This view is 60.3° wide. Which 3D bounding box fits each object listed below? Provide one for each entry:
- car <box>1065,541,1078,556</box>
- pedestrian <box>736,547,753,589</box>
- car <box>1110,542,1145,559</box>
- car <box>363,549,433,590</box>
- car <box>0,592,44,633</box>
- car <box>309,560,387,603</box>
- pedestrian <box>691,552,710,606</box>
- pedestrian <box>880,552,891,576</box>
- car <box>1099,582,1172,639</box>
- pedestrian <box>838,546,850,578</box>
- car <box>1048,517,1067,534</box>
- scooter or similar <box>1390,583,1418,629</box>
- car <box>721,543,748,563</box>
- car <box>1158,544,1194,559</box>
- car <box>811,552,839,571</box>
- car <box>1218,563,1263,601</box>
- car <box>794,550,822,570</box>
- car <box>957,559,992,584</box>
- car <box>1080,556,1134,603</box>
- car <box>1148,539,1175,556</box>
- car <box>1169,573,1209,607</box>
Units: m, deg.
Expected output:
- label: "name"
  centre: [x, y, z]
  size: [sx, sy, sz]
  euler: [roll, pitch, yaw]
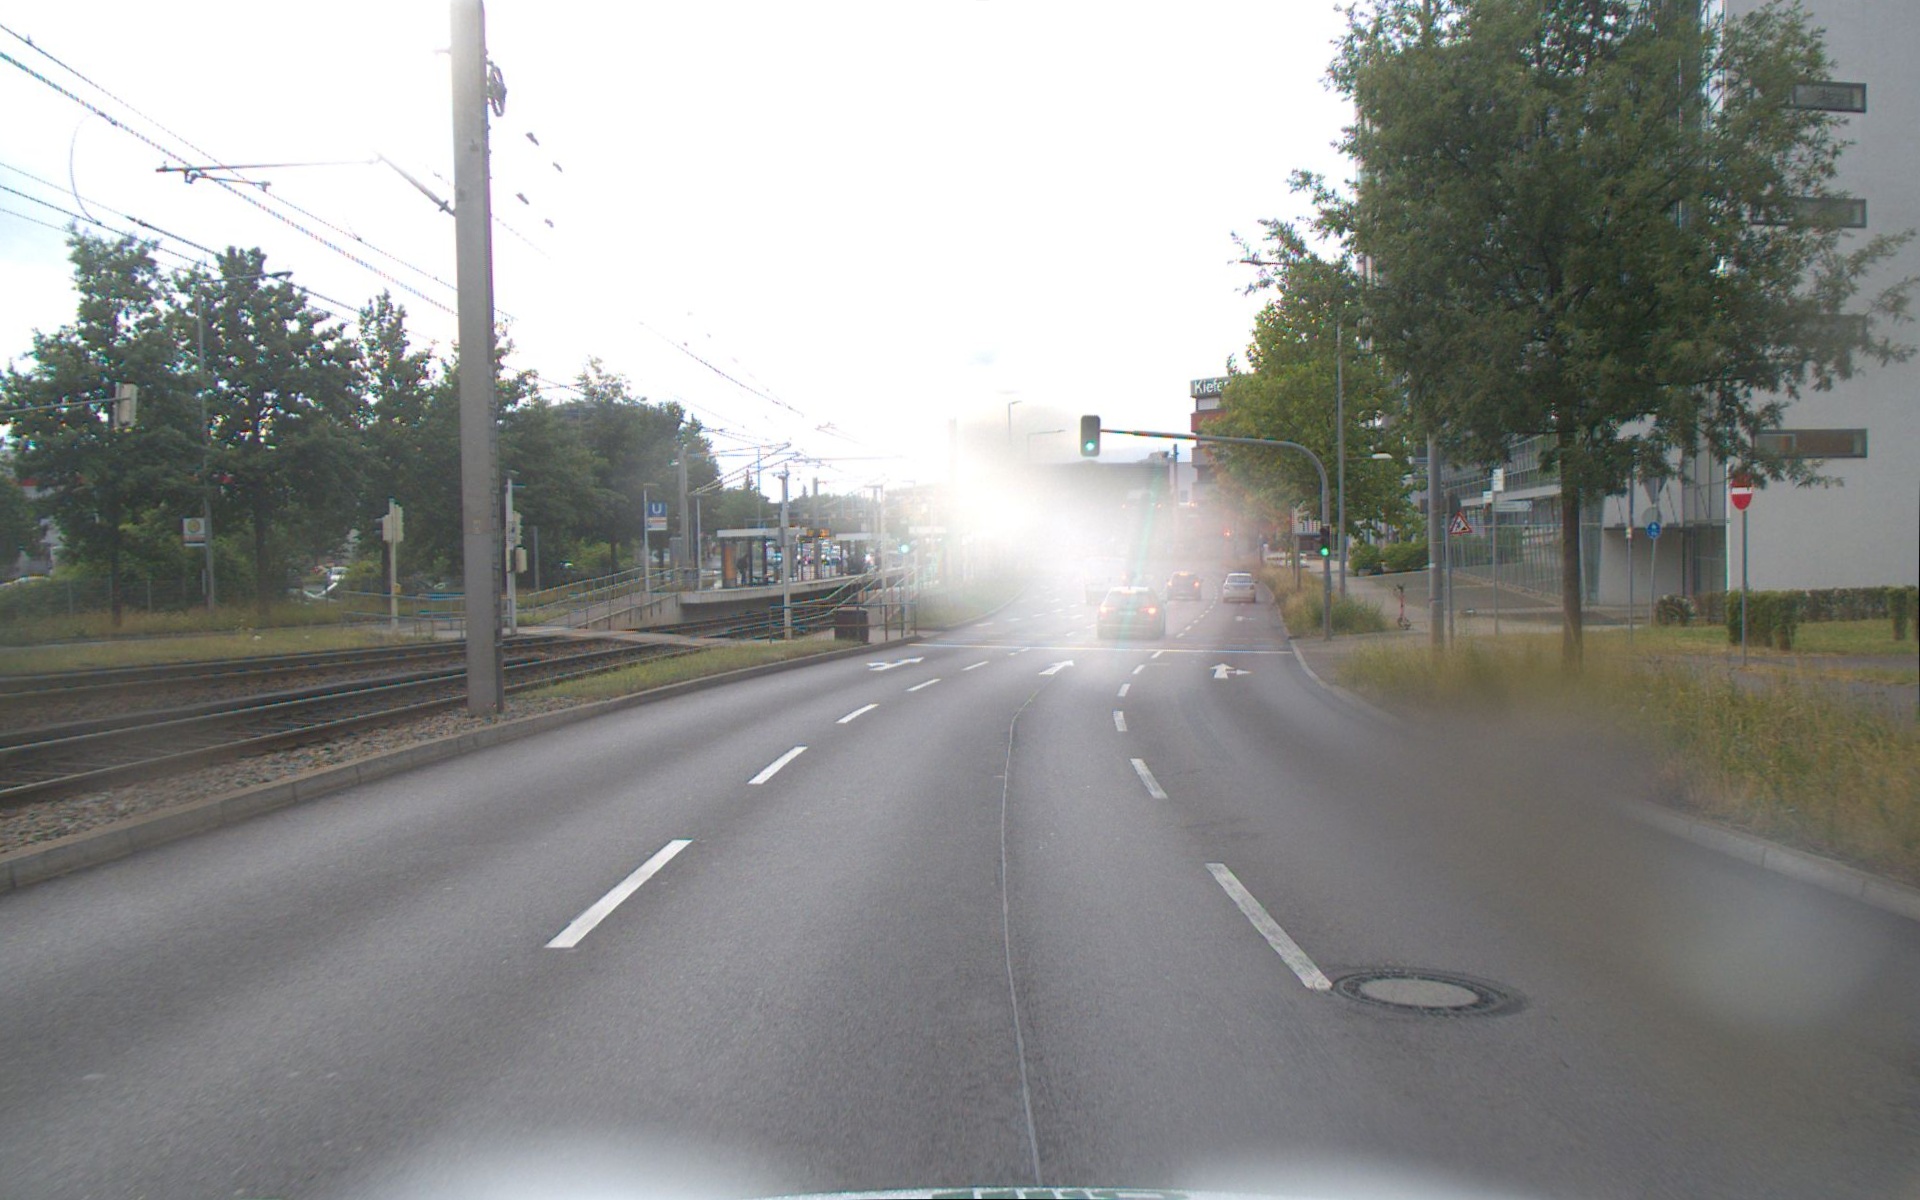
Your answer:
- label: "car"
  centre: [16.333, -7.512, 242.147]
  size: [1.780, 2.049, 3.470]
  euler: [0, -1, 0]
- label: "pedestrian"
  centre: [-10.004, -1.485, 76.711]
  size: [0.623, 1.887, 0.751]
  euler: [0, -2, 5]
- label: "car"
  centre: [19.992, -5.909, 197.324]
  size: [1.977, 2.048, 3.952]
  euler: [1, 1, -35]
- label: "car"
  centre: [-29.996, -1.588, 88.398]
  size: [1.951, 2.049, 4.003]
  euler: [0, -1, 8]
- label: "car"
  centre: [-35.017, 0.463, 60.743]
  size: [1.977, 1.440, 3.950]
  euler: [1, -2, -35]
- label: "car"
  centre: [-30.739, -0.891, 83.186]
  size: [1.951, 2.049, 4.003]
  euler: [0, -1, 8]
- label: "pedestrian"
  centre: [-9.647, -0.786, 61.506]
  size: [0.537, 1.987, 0.664]
  euler: [0, -2, 2]
- label: "pedestrian"
  centre: [-5.595, -2.698, 124.752]
  size: [0.736, 1.782, 0.764]
  euler: [0, -2, 6]
- label: "car"
  centre: [5.094, 0.268, 47.520]
  size: [1.726, 1.489, 4.631]
  euler: [-1, 1, 10]
- label: "pedestrian"
  centre: [-7.792, -2.566, 110.889]
  size: [0.674, 2.116, 0.715]
  euler: [0, 1, 10]
- label: "car"
  centre: [13.360, -10.178, 226.398]
  size: [1.955, 2.049, 3.995]
  euler: [0, -1, -5]
- label: "scooter or similar"
  centre: [12.716, 0.171, 47.377]
  size: [0.448, 1.285, 1.337]
  euler: [-3, 0, 2]
- label: "car"
  centre: [-25.938, -5.406, 190.360]
  size: [1.969, 2.049, 3.967]
  euler: [1, -1, -26]
- label: "car"
  centre: [24.553, -5.527, 187.887]
  size: [2.004, 1.651, 3.952]
  euler: [0, 1, -35]
- label: "car"
  centre: [-15.748, -4.528, 193.358]
  size: [1.969, 2.049, 3.967]
  euler: [1, -1, -26]
- label: "car"
  centre: [14.310, -0.946, 84.418]
  size: [1.978, 1.800, 4.004]
  euler: [0, 2, 5]
- label: "car"
  centre: [-17.525, -4.602, 190.658]
  size: [1.969, 2.049, 3.967]
  euler: [1, -1, -26]
- label: "car"
  centre: [0.977, -1.901, 109.353]
  size: [1.951, 1.477, 3.852]
  euler: [0, 4, 5]
- label: "car"
  centre: [7.224, -1.018, 80.955]
  size: [2.458, 2.215, 5.154]
  euler: [0, 1, 7]
- label: "car"
  centre: [26.799, -6.937, 220.203]
  size: [1.963, 2.049, 3.978]
  euler: [1, -1, -19]
- label: "car"
  centre: [11.947, -0.504, 86.498]
  size: [1.978, 1.652, 4.002]
  euler: [0, -1, 6]
